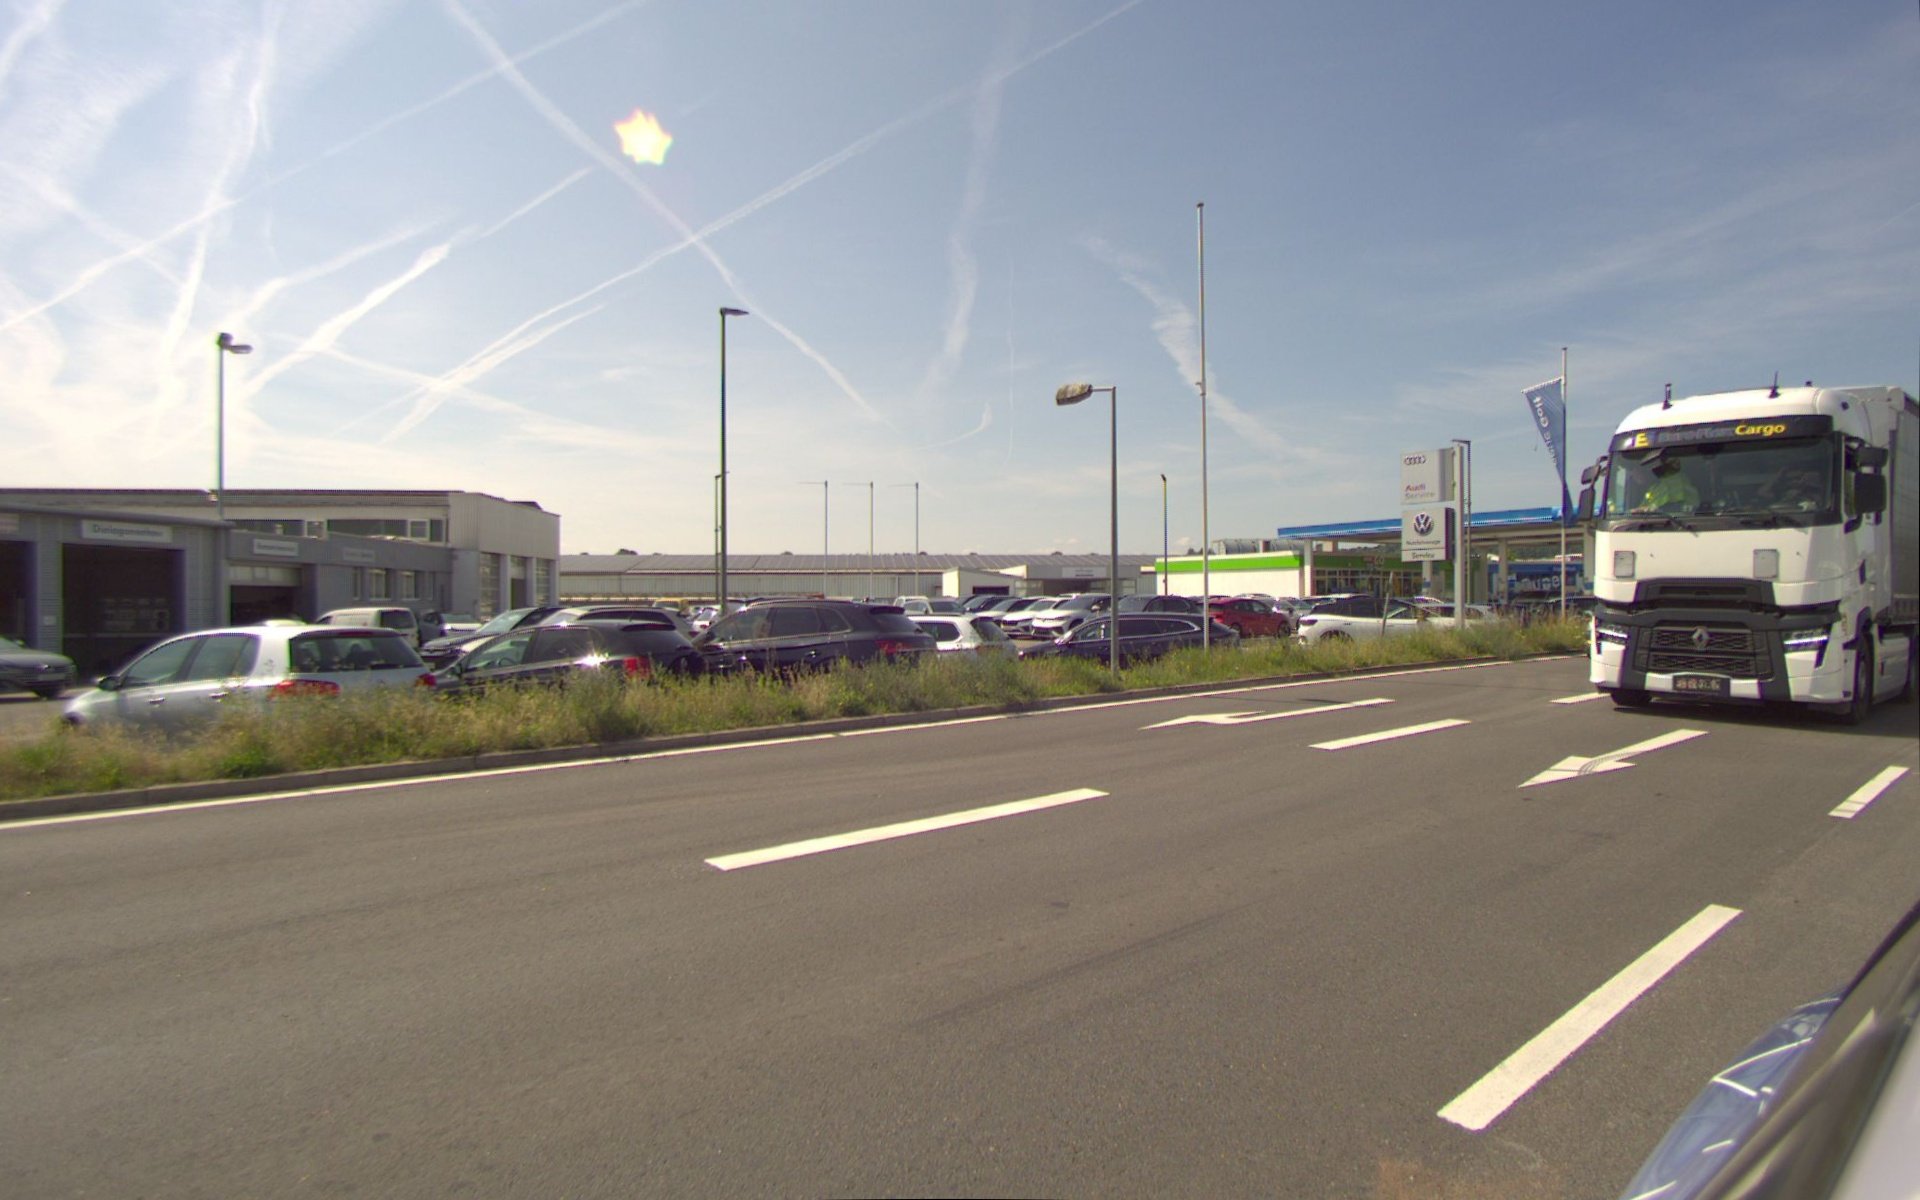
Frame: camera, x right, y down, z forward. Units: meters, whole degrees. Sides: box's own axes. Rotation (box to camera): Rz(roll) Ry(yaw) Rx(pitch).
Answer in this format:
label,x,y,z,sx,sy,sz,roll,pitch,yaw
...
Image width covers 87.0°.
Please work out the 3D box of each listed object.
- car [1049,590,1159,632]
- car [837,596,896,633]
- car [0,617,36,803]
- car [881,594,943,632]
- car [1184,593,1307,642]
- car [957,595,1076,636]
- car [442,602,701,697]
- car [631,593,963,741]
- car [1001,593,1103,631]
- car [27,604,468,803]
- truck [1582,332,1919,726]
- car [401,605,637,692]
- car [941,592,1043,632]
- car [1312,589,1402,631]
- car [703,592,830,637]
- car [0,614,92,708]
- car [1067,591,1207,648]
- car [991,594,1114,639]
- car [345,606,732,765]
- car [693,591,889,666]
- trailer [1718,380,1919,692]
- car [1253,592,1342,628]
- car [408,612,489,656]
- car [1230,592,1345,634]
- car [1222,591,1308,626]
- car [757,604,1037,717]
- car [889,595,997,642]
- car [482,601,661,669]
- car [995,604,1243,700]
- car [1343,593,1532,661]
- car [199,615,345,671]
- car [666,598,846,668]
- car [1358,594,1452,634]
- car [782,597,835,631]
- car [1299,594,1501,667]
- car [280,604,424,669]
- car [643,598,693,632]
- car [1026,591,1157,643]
label,x,y,z,sx,sy,sz,roll,pitch,yaw
car,6.041,0.416,42.291,4.448,1.675,1.777,0,1,-32
car,-4.684,0.665,50.043,2.025,1.675,4.548,0,1,-17
car,-9.877,0.874,8.119,4.285,1.470,1.766,1,1,18
car,-2.447,0.610,50.466,2.025,1.750,4.548,0,1,-17
car,10.140,0.565,35.821,4.452,1.600,1.776,0,1,-35
car,2.222,0.554,38.981,4.452,1.459,1.776,0,1,-35
car,-7.892,0.908,20.876,4.633,1.675,1.904,0,1,-44
car,-2.098,0.773,13.257,3.946,1.675,1.766,1,1,17
car,4.268,0.520,46.889,4.444,1.675,1.779,0,1,-25
car,-6.987,0.862,9.942,3.953,1.578,1.700,1,1,22
truck,10.780,-0.761,13.263,5.933,4.037,2.647,0,1,-39
car,-9.800,0.980,22.705,4.464,1.675,1.964,0,1,-44
car,1.342,0.462,41.599,4.051,1.551,1.609,0,1,-35
car,17.520,0.404,44.620,4.179,1.734,1.714,0,1,-35
car,-7.265,0.518,37.925,4.442,1.603,1.827,0,1,-19
car,-19.637,1.134,19.877,4.009,1.675,1.772,0,1,9
car,5.702,0.568,32.384,4.452,1.675,1.776,0,1,-35
car,3.400,0.549,36.948,4.452,1.545,1.691,0,1,-35
car,-4.875,0.896,11.867,3.941,1.572,1.768,1,1,14
car,-4.089,0.628,24.889,4.454,1.675,1.775,0,1,-38
trailer,16.869,-0.927,18.200,11.089,4.281,2.613,0,1,-39
car,15.532,0.429,46.568,4.158,1.600,1.776,0,1,-35
car,-22.450,1.449,44.402,3.899,1.751,1.953,1,1,43
car,13.734,0.506,42.644,1.742,1.600,4.540,0,1,-33
car,14.765,0.389,48.921,4.242,1.600,1.722,0,1,-35
car,-0.973,0.843,15.570,3.957,1.476,1.761,1,1,25
car,-0.681,0.596,35.697,1.910,1.477,4.544,0,1,-29
car,-11.043,0.933,28.889,4.452,1.751,1.823,0,1,-35
car,3.060,0.918,19.355,4.479,1.600,1.765,1,1,19
car,12.870,0.685,27.500,4.490,1.675,1.761,1,1,25
car,-21.046,1.280,30.951,4.028,1.510,1.764,1,1,22
car,-5.345,0.805,26.815,4.352,1.675,1.775,0,1,-38
car,18.743,0.544,42.571,4.069,1.600,1.776,0,1,-35
car,-7.405,0.661,49.264,1.899,1.515,4.548,0,1,-17
car,10.967,0.705,25.471,4.488,1.675,1.762,1,1,24
car,-20.178,1.155,33.584,4.484,1.973,1.763,1,1,22
car,-17.916,0.865,62.332,2.167,1.955,4.164,0,1,-4
car,4.553,0.525,34.719,4.452,1.675,1.776,0,1,-35
